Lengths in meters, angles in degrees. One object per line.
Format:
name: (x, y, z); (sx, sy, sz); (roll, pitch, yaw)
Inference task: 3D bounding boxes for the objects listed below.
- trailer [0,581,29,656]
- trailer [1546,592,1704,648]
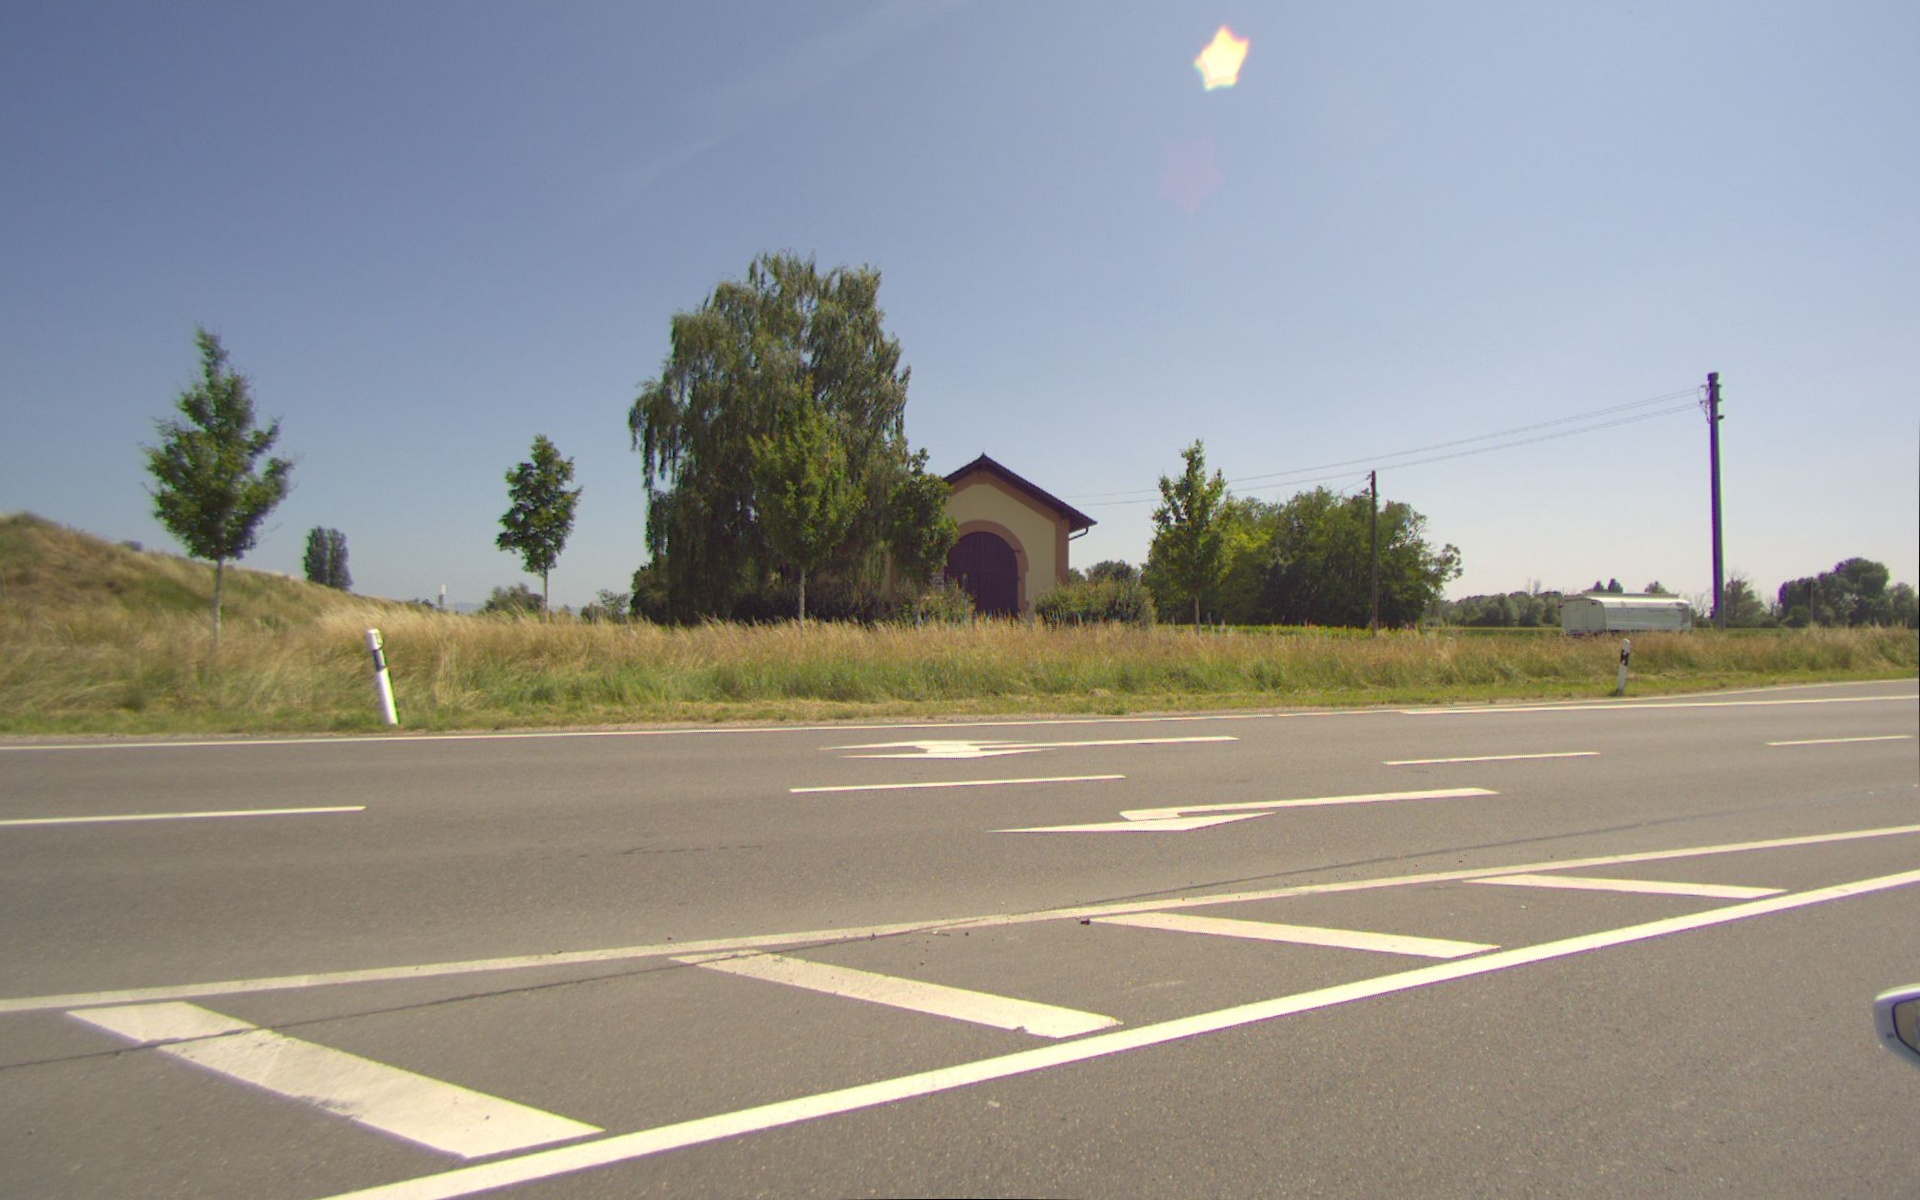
trailer: (-59.379, 0.968, 58.426); (3.345, 4.602, 12.800); (2, -3, -23)
trailer: (30.671, 0.893, 46.364); (6.278, 2.488, 2.677); (0, 0, -16)
